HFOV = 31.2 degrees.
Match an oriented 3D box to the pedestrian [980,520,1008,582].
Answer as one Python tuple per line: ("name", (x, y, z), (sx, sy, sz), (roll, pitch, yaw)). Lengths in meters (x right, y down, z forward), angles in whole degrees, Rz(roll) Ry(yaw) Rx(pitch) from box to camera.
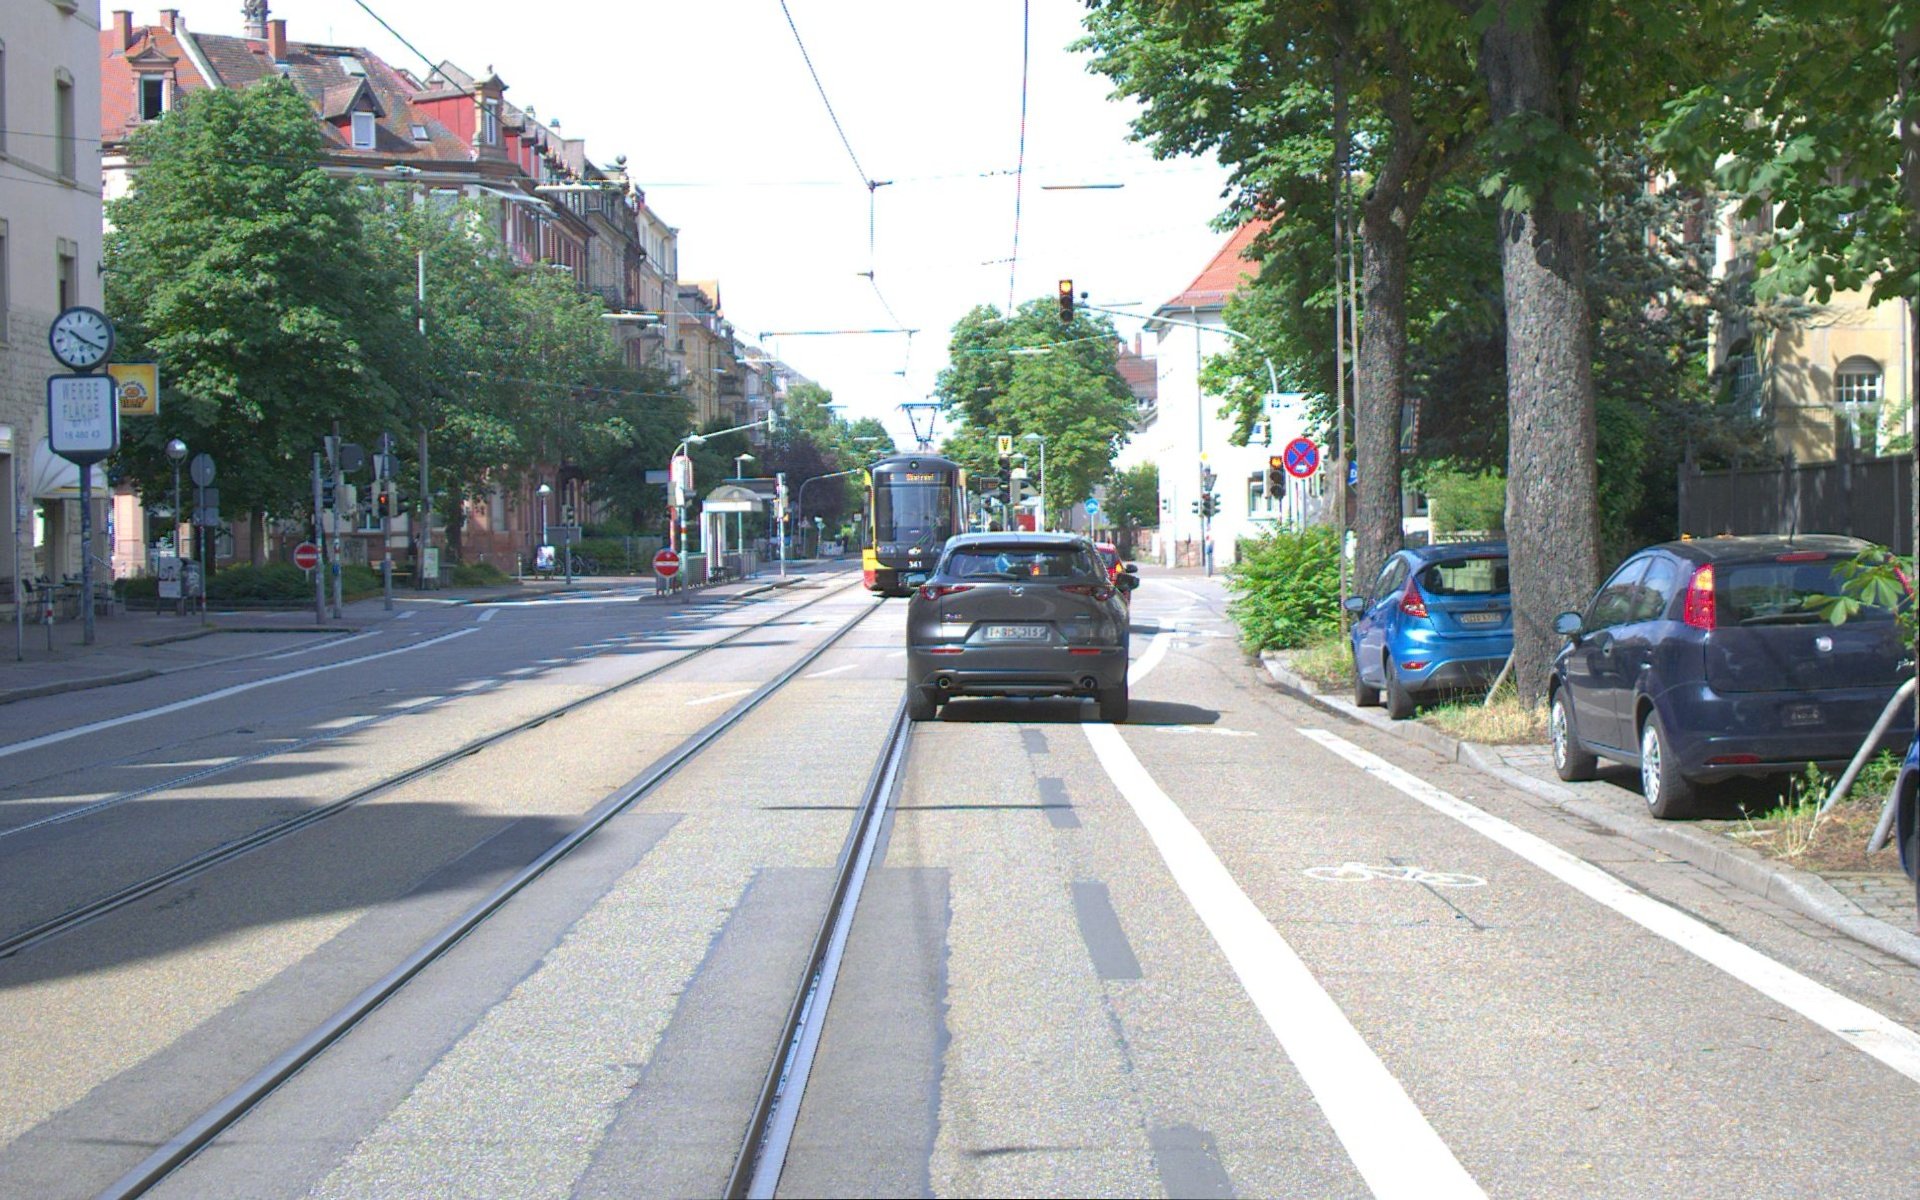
("pedestrian", (0.882, -1.287, 89.498), (0.667, 1.599, 0.700), (-1, 1, -1))

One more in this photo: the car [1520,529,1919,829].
("car", (4.419, 0.368, 19.715), (1.639, 1.491, 3.758), (-2, 1, -2))

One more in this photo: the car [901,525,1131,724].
("car", (0.400, 0.147, 29.075), (1.789, 1.507, 4.351), (0, 2, -1))

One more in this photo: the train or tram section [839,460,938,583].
("train or tram section", (-2.237, -2.348, 104.401), (2.651, 3.515, 8.498), (-2, 1, -3))

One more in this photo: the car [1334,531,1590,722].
("car", (4.338, 0.183, 30.199), (1.624, 1.491, 3.848), (-3, 1, 0))

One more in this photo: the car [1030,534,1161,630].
("car", (2.240, -0.344, 57.851), (1.785, 1.487, 4.884), (-1, 1, -2))

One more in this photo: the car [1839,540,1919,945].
("car", (4.383, 0.525, 11.851), (1.639, 1.491, 3.627), (-2, 1, -1))

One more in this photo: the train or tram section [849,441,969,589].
("train or tram section", (-1.362, -2.119, 87.412), (2.651, 3.515, 8.498), (-2, 1, -3))

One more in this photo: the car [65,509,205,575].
("car", (-28.518, -2.006, 118.847), (4.121, 2.007, 1.999), (-4, 1, 10))

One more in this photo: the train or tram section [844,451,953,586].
("train or tram section", (-1.792, -2.234, 95.901), (2.651, 3.515, 8.498), (-2, 1, -3))
